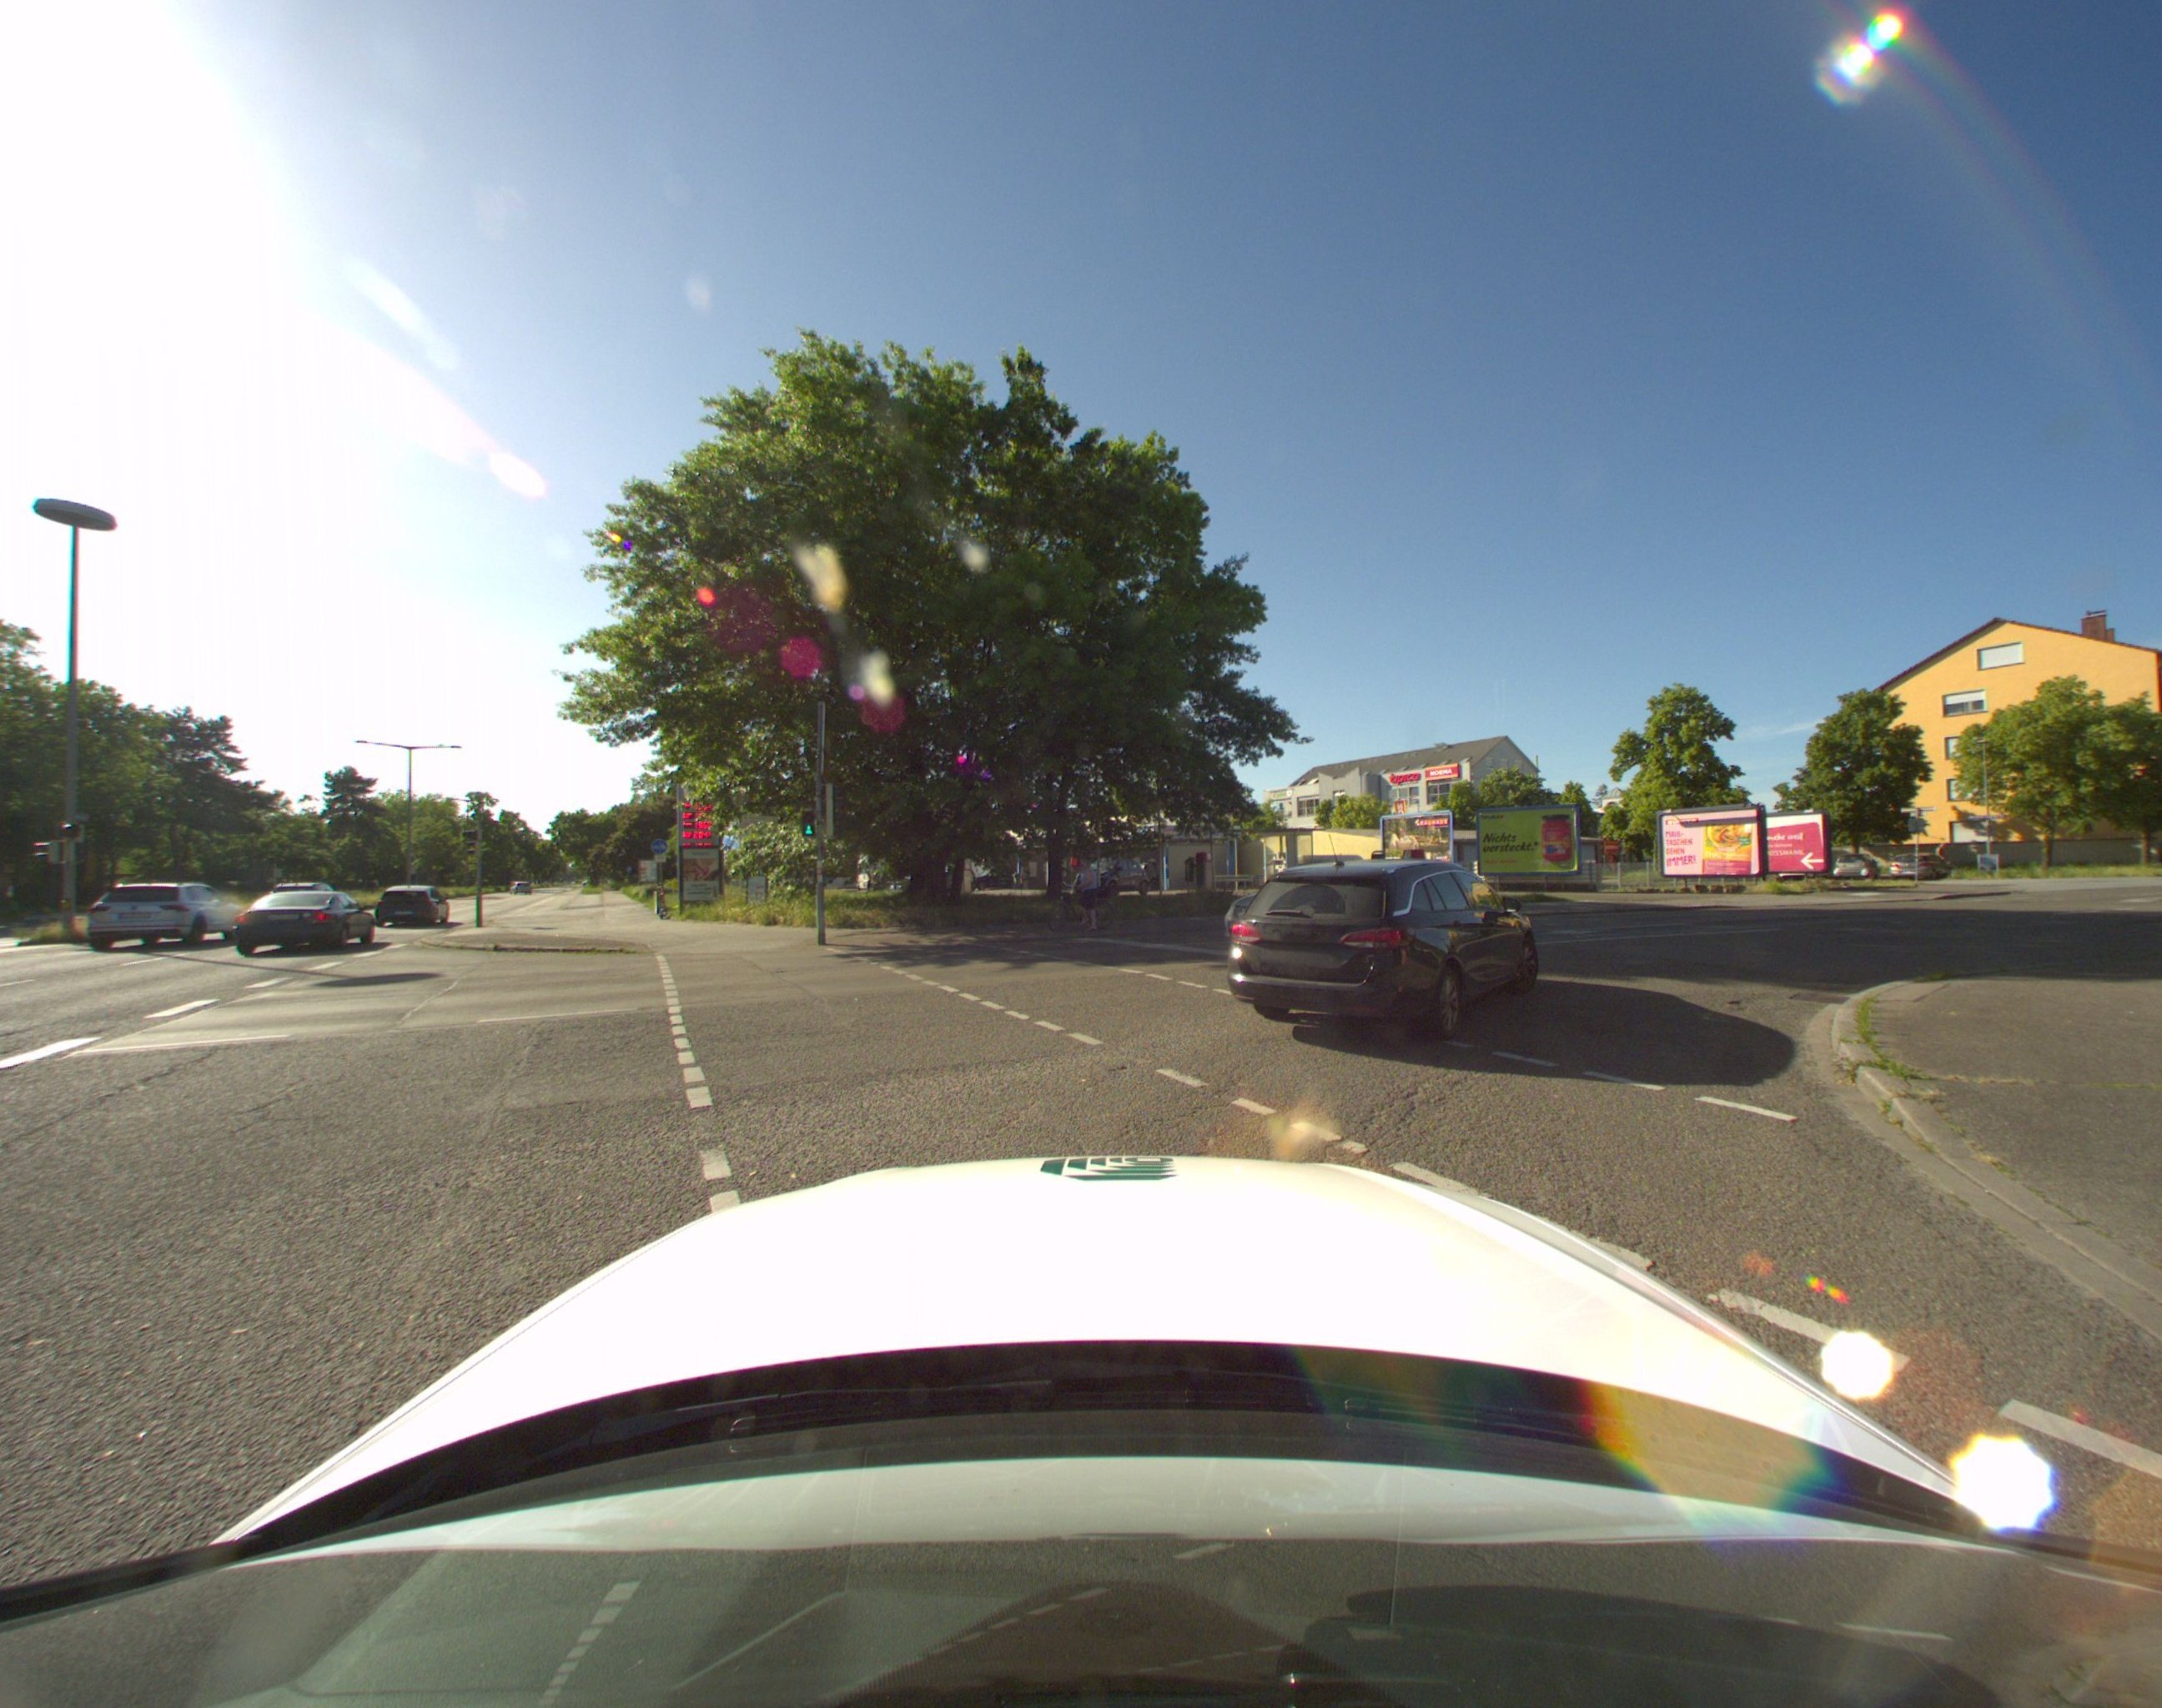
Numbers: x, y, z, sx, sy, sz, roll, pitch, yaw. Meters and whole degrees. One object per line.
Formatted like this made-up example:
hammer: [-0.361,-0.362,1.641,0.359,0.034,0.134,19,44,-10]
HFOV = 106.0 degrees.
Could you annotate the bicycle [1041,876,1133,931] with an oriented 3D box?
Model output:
bicycle: [0.139,1.106,18.383,2.029,1.142,0.524,-1,-1,-25]

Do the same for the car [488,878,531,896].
car: [-66.320,3.799,94.471,3.954,2.014,2.009,0,-3,18]

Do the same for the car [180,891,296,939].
car: [-31.868,2.249,30.947,1.923,1.653,4.321,2,-3,-31]

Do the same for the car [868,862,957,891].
car: [-8.467,1.169,41.139,4.021,1.335,1.777,3,-4,-42]

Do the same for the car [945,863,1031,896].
car: [-4.516,1.285,40.021,4.020,1.512,1.514,3,-4,-41]

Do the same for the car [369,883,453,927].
car: [-25.988,1.928,31.733,1.848,1.588,4.321,1,-2,-31]

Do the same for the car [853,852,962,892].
car: [-9.816,1.074,46.234,5.670,2.099,1.980,2,-3,-30]

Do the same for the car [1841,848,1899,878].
car: [46.384,0.526,47.862,3.897,1.622,1.685,-1,-2,-34]

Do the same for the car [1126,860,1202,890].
car: [4.804,1.242,46.975,4.013,1.607,1.979,2,-3,-32]

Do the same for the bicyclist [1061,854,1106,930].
bicyclist: [0.045,0.845,18.363,0.831,1.642,0.538,-1,-2,-25]

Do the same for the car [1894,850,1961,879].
car: [46.666,0.556,44.871,3.894,1.464,1.717,-1,-1,-32]

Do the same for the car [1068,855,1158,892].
car: [1.376,0.843,33.211,1.737,1.376,4.025,-2,-3,36]

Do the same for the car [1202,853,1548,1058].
car: [3.152,0.756,8.138,1.745,1.491,4.317,-1,-1,42]

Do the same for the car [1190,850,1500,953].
car: [4.490,0.743,13.890,4.888,1.489,1.830,-1,-2,-19]

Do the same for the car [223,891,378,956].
car: [-19.038,1.618,20.100,1.849,1.395,4.320,2,-3,-32]

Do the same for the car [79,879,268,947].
car: [-24.443,1.538,22.188,1.954,1.653,4.325,2,-3,-28]
